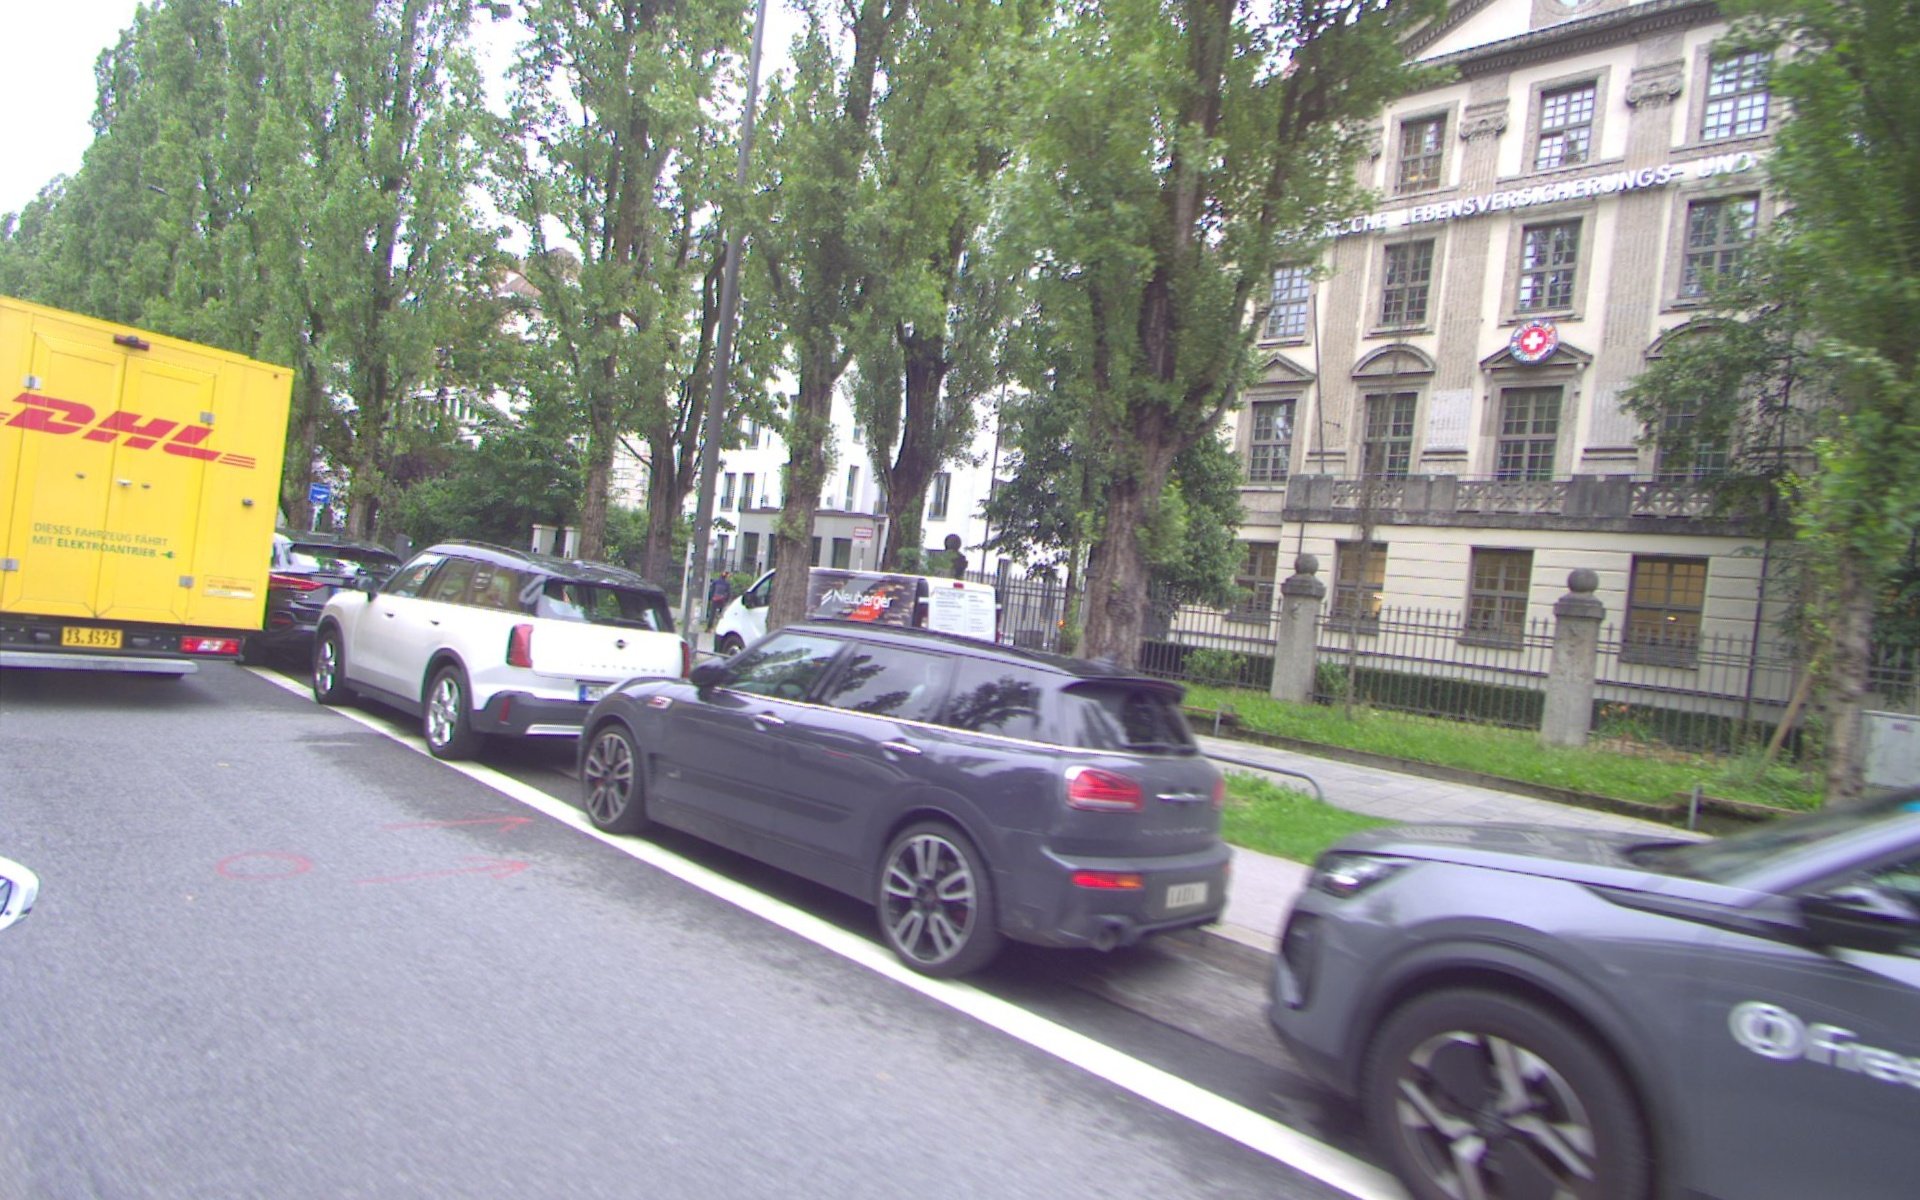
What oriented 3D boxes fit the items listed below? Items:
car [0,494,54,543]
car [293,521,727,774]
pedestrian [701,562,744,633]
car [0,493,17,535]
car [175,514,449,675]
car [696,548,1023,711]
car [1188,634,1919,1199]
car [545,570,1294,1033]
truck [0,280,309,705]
[{"bbox_3d":[-34.108,-3.004,36.091,3.943,1.493,1.796,7,0,40],"label":"car"},{"bbox_3d":[-4.101,0.325,8.849,4.088,1.600,1.780,7,-2,41],"label":"car"},{"bbox_3d":[-6.782,-0.081,28.736,0.926,1.889,0.770,6,1,-20],"label":"pedestrian"},{"bbox_3d":[-41.706,-3.812,42.791,3.943,1.638,1.807,7,0,40],"label":"car"},{"bbox_3d":[-8.177,-0.130,12.521,4.264,1.514,1.723,7,0,42],"label":"car"},{"bbox_3d":[-1.770,0.402,16.147,5.248,1.949,1.991,6,0,41],"label":"car"},{"bbox_3d":[2.878,1.125,2.563,4.056,1.521,1.650,7,-1,41],"label":"car"},{"bbox_3d":[-0.493,0.807,5.695,4.090,1.462,1.633,6,-3,41],"label":"car"},{"bbox_3d":[-9.040,-0.993,9.878,7.229,2.934,2.325,7,0,41],"label":"truck"}]
